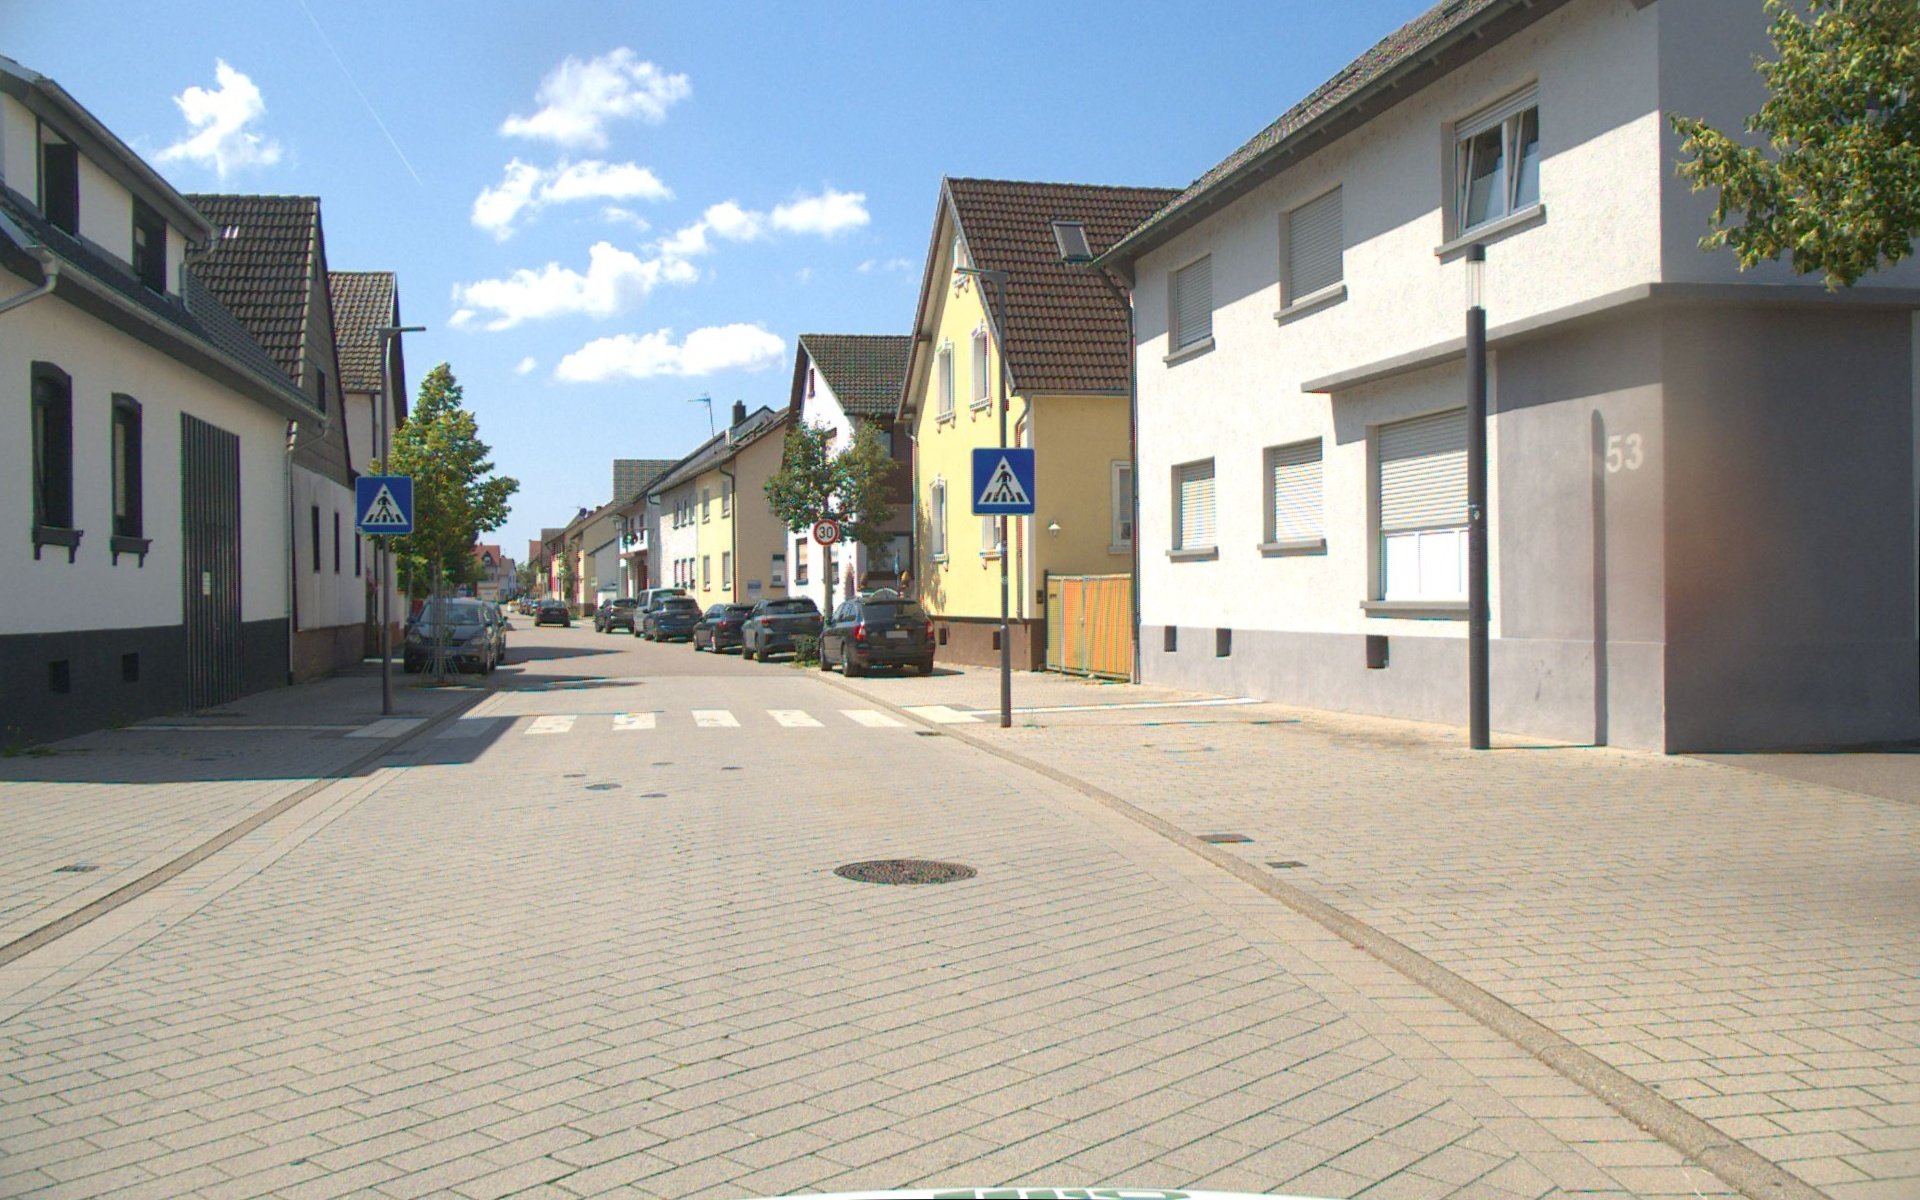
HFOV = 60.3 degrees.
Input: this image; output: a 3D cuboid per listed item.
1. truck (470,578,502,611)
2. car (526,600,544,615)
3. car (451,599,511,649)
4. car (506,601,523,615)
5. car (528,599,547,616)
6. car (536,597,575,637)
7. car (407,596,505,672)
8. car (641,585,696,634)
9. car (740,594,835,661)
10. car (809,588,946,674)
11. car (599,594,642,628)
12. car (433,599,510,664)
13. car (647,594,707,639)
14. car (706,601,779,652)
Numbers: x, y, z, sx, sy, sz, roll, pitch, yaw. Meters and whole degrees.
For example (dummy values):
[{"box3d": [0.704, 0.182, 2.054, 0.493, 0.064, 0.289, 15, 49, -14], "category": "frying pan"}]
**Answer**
[{"box3d": [-58.447, -0.686, 203.821, 3.509, 4.023, 8.538, -1, 0, -18], "category": "truck"}, {"box3d": [-41.623, 0.719, 161.871, 1.660, 1.478, 3.776, -1, 0, -16], "category": "car"}, {"box3d": [-15.235, 0.738, 52.727, 1.763, 1.501, 3.854, -1, 0, -15], "category": "car"}, {"box3d": [-49.735, 0.913, 184.453, 1.661, 1.478, 3.774, -1, 0, -17], "category": "car"}, {"box3d": [-39.037, 0.658, 152.658, 1.660, 1.478, 3.777, -1, 0, -15], "category": "car"}, {"box3d": [-22.435, 0.930, 91.680, 1.961, 2.093, 4.355, -1, 0, -16], "category": "car"}, {"box3d": [-11.014, 0.709, 36.354, 1.716, 1.557, 3.988, 0, 0, -12], "category": "car"}, {"box3d": [-12.009, 0.358, 67.912, 1.875, 1.904, 3.984, -1, 0, -15], "category": "car"}, {"box3d": [-4.409, 0.654, 41.882, 1.816, 1.590, 3.678, -1, 0, -15], "category": "car"}, {"box3d": [-1.714, 0.586, 32.757, 1.799, 1.497, 4.259, -3, 0, -15], "category": "car"}, {"box3d": [-15.678, 0.491, 76.248, 1.725, 1.519, 3.984, -1, 0, -15], "category": "car"}, {"box3d": [-12.533, 0.780, 42.603, 1.721, 1.559, 4.244, 0, 0, -14], "category": "car"}, {"box3d": [-10.702, 0.595, 62.412, 1.846, 1.619, 3.984, -1, 0, -15], "category": "car"}, {"box3d": [-6.488, 0.746, 49.125, 1.682, 1.411, 3.691, -1, 0, -15], "category": "car"}]
